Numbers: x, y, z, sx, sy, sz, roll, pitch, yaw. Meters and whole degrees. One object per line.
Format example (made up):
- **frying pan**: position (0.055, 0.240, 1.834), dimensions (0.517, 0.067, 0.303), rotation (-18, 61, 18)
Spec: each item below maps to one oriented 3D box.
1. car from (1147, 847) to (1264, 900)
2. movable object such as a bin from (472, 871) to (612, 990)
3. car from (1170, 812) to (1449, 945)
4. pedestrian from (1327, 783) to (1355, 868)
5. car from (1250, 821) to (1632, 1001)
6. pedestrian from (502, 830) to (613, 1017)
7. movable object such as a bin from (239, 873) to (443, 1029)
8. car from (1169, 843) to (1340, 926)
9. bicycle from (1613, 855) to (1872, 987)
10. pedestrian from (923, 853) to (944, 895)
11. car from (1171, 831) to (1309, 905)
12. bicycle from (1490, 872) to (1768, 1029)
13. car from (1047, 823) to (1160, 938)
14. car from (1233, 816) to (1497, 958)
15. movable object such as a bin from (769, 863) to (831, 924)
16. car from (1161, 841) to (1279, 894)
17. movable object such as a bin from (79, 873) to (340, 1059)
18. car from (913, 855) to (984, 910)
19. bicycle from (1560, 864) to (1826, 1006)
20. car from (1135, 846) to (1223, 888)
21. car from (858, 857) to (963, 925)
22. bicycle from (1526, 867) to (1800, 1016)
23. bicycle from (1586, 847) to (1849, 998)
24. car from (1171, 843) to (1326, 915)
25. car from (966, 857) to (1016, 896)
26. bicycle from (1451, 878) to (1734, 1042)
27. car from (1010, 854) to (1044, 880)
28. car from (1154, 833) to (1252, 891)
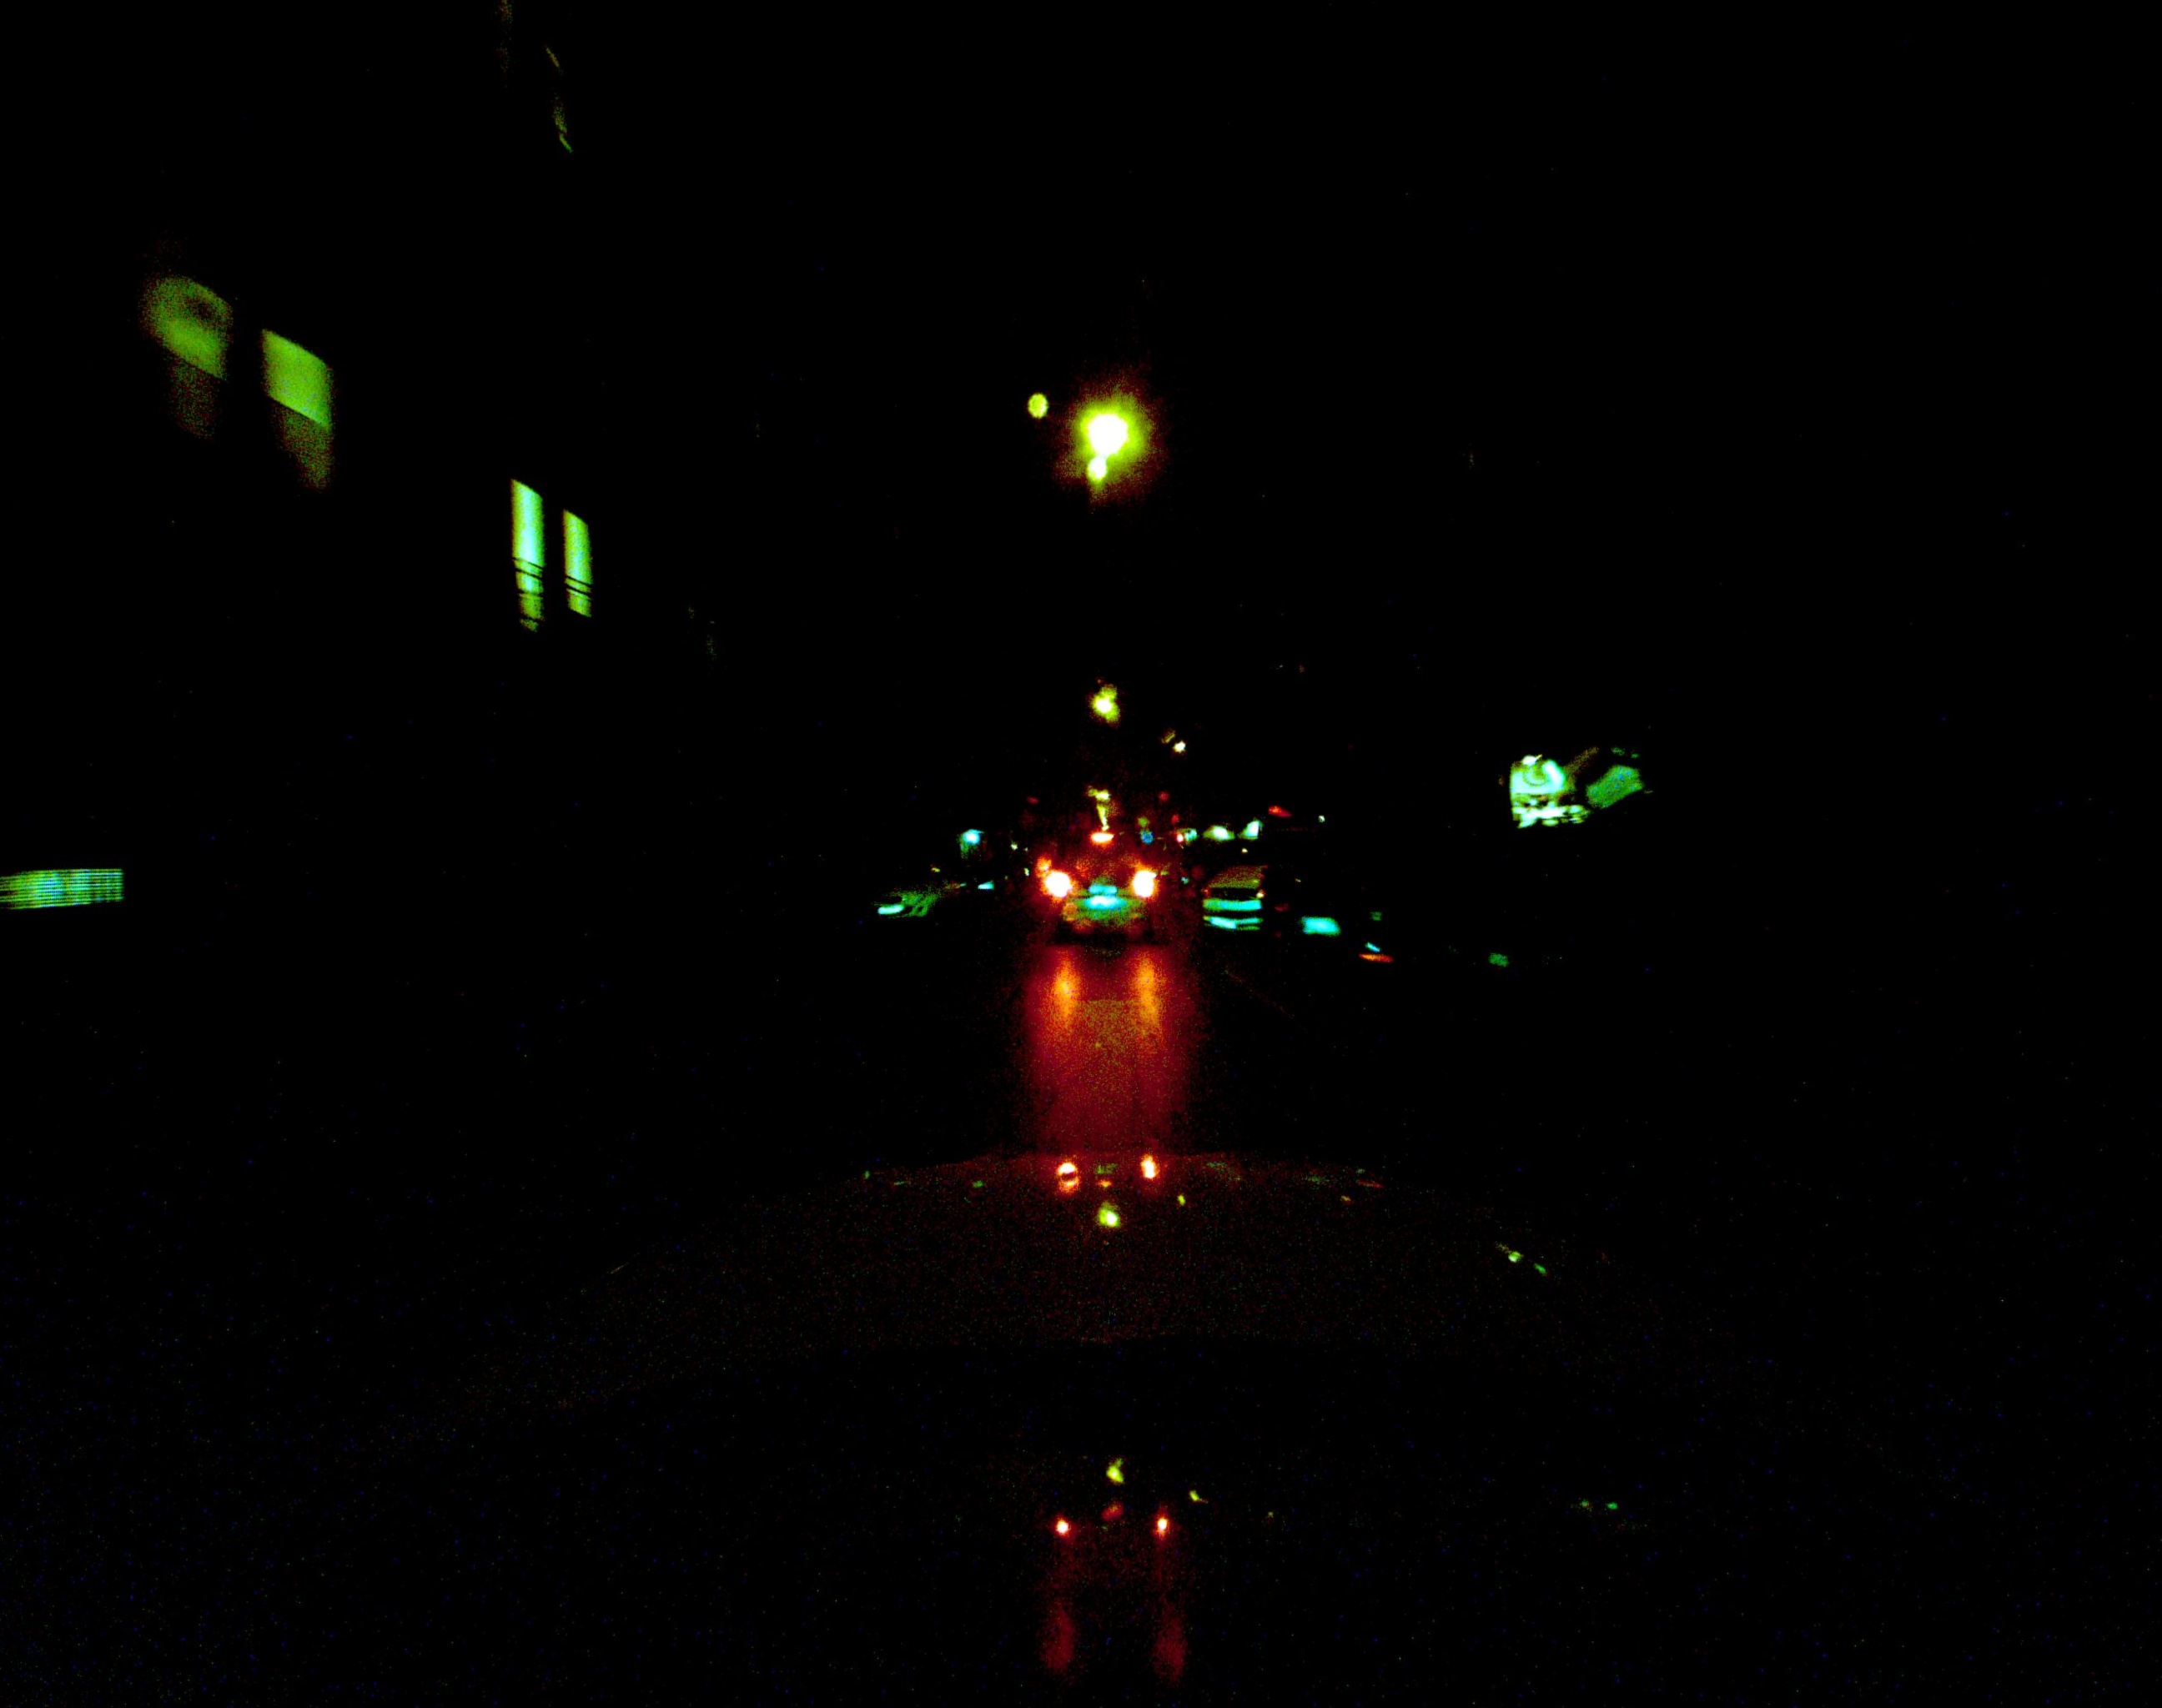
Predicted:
- **car**: position (4.119, 0.619, 26.806), dimensions (3.580, 1.453, 1.655), rotation (-4, 0, -34)
- **movable object such as a bin**: position (-6.770, 0.920, 10.302), dimensions (0.970, 1.398, 1.134), rotation (0, 0, 4)
- **car**: position (4.197, 0.334, 14.788), dimensions (4.814, 2.049, 2.047), rotation (-2, 0, -29)
- **pedestrian**: position (10.879, -1.174, 34.085), dimensions (0.888, 3.528, 0.791), rotation (-1, 0, 1)
- **car**: position (4.098, 0.522, 9.214), dimensions (4.008, 1.492, 1.719), rotation (-4, 0, -26)
- **pedestrian**: position (-5.349, 0.675, 8.362), dimensions (0.589, 1.820, 0.795), rotation (1, 0, 2)
- **movable object such as a bin**: position (-7.338, 0.914, 8.146), dimensions (0.970, 1.420, 1.134), rotation (0, 0, 4)
- **car**: position (3.821, 0.625, 17.781), dimensions (3.526, 1.494, 1.436), rotation (-4, 0, -30)
- **bicycle**: position (6.125, 0.580, 7.674), dimensions (0.448, 1.076, 1.810), rotation (-3, 0, -29)
- **pedestrian**: position (-6.055, 0.833, 33.481), dimensions (0.698, 1.704, 0.539), rotation (-1, 0, 1)
- **car**: position (4.631, 0.387, 23.575), dimensions (3.766, 1.840, 1.707), rotation (-4, 0, -35)
- **bicycle**: position (4.387, 0.713, 6.688), dimensions (0.521, 1.076, 1.810), rotation (-3, 0, -29)
- **car**: position (0.473, 0.509, 16.811), dimensions (1.986, 2.050, 4.001), rotation (-2, -1, 2)
- **car**: position (4.264, 0.421, 12.184), dimensions (3.574, 1.711, 1.631), rotation (-4, 0, -28)
- **movable object such as a bin**: position (-6.733, 0.927, 19.583), dimensions (1.043, 1.398, 1.159), rotation (0, 0, 4)
- **car**: position (5.106, 0.467, 29.790), dimensions (4.017, 1.587, 1.860), rotation (-5, 0, -34)
- **movable object such as a bin**: position (-7.319, 0.887, 6.921), dimensions (0.970, 1.420, 1.134), rotation (0, 0, 4)
- **car**: position (-4.068, 0.830, 25.648), dimensions (1.651, 1.557, 4.073), rotation (-1, 0, -2)
- **bicycle**: position (5.308, 0.652, 7.209), dimensions (0.448, 1.076, 1.810), rotation (-3, 0, -29)
- **car**: position (4.244, 0.537, 35.133), dimensions (3.581, 1.590, 1.588), rotation (-3, -1, -35)
- **car**: position (-4.085, 0.830, 20.054), dimensions (1.581, 1.482, 3.796), rotation (-1, 0, 3)
- **bicycle**: position (4.867, 0.677, 6.964), dimensions (0.521, 1.076, 1.810), rotation (-3, 0, -29)
- **bicycle**: position (5.715, 0.576, 7.452), dimensions (0.448, 1.191, 1.810), rotation (-3, 0, -29)
- **car**: position (4.214, 0.601, 20.323), dimensions (3.580, 1.484, 1.708), rotation (-4, 0, -34)
- **car**: position (-3.831, 0.922, 35.184), dimensions (1.808, 1.557, 4.073), rotation (-1, 0, -2)
- **bicycle**: position (3.904, 0.743, 6.403), dimensions (0.521, 1.076, 1.810), rotation (-3, 0, -29)
- **car**: position (-3.565, 0.832, 54.436), dimensions (1.876, 1.685, 4.002), rotation (-1, 0, 2)
- **car**: position (4.834, 0.305, 32.078), dimensions (3.581, 1.990, 1.588), rotation (-4, 0, -35)
